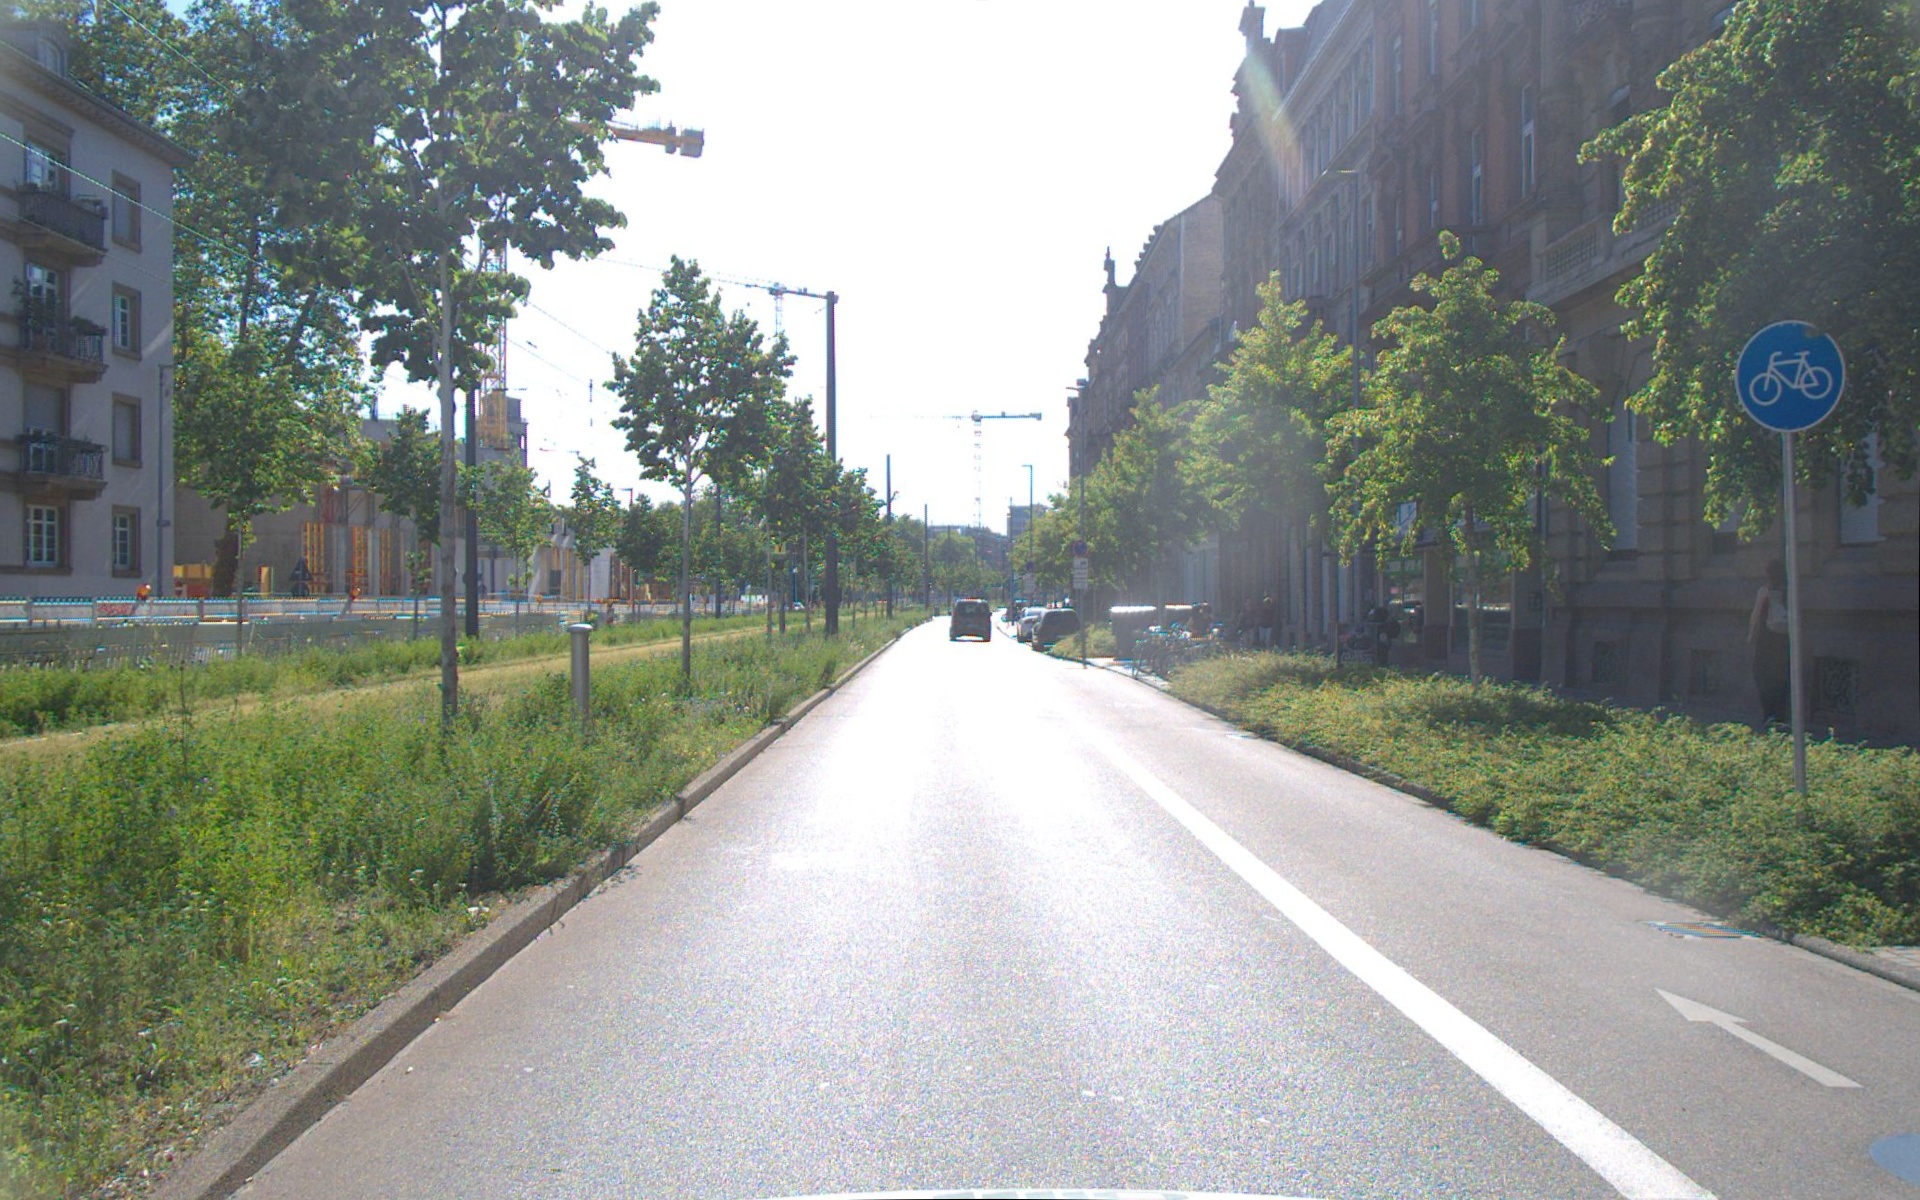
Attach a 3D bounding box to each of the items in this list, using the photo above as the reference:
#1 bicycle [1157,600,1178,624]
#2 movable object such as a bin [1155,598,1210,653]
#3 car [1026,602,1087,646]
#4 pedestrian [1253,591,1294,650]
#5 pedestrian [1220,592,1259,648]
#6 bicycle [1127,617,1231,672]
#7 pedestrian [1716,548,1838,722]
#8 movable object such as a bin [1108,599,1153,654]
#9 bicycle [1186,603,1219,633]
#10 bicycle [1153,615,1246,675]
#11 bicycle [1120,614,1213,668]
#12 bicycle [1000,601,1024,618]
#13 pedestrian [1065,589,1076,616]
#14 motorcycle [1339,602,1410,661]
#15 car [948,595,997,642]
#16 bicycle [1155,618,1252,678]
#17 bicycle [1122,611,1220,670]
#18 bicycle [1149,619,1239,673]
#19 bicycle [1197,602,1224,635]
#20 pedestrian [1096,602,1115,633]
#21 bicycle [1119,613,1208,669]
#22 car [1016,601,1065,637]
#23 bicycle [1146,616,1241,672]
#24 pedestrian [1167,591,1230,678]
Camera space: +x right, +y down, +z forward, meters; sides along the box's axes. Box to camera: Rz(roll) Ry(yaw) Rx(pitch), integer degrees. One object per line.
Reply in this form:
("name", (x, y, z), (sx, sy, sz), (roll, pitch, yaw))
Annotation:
("bicycle", (9.782, 0.562, 78.060), (0.706, 1.109, 2.198), (-1, 0, 0))
("movable object such as a bin", (6.558, 0.741, 48.844), (1.345, 1.521, 1.749), (-3, -1, 0))
("car", (3.557, 0.900, 61.505), (1.730, 1.502, 4.446), (-2, -1, -3))
("pedestrian", (9.129, 0.579, 48.195), (0.951, 1.668, 0.992), (-1, 1, -1))
("pedestrian", (8.145, 0.571, 48.238), (0.931, 1.594, 1.080), (-1, 1, -1))
("bicycle", (4.842, 0.981, 36.561), (2.247, 1.121, 0.484), (-2, 0, -15))
("pedestrian", (9.551, 0.402, 19.368), (0.871, 1.953, 1.098), (-2, 0, 4))
("movable object such as a bin", (4.995, 0.770, 48.648), (1.244, 1.488, 1.645), (1, 2, 4))
("bicycle", (9.810, 0.718, 66.925), (0.858, 1.124, 2.180), (-3, 0, -3))
("bicycle", (4.910, 0.915, 33.935), (1.829, 1.199, 0.373), (-1, -1, -4))
("bicycle", (4.740, 0.932, 37.988), (2.004, 1.126, 0.610), (-3, 0, -7))
("bicycle", (4.117, 0.735, 131.587), (1.843, 1.255, 0.499), (-3, -1, -6))
("pedestrian", (8.672, 0.186, 129.585), (0.801, 2.049, 1.046), (1, -3, 0))
("motorcycle", (9.591, 0.720, 38.405), (0.848, 1.288, 2.981), (1, -1, -1))
("car", (0.529, 0.824, 74.745), (1.954, 2.049, 3.997), (1, -1, -3))
("bicycle", (4.935, 0.971, 33.581), (1.855, 1.128, 0.517), (-2, -1, -6))
("bicycle", (4.701, 0.903, 36.904), (2.110, 1.174, 0.428), (-3, 0, -15))
("bicycle", (4.962, 0.972, 35.054), (1.779, 1.074, 0.571), (-2, -1, -7))
("bicycle", (9.664, 0.717, 63.858), (0.732, 1.222, 1.800), (-1, -1, -1))
("pedestrian", (8.550, 1.027, 97.307), (0.975, 1.762, 0.866), (1, -1, -1))
("bicycle", (4.730, 0.939, 38.396), (1.937, 1.143, 0.481), (-4, 1, -6))
("car", (3.571, 0.830, 74.214), (1.912, 1.521, 5.104), (-2, 0, 0))
("bicycle", (5.001, 0.943, 35.398), (1.938, 1.128, 0.435), (-2, -1, -4))
("pedestrian", (5.075, 0.739, 35.192), (0.891, 1.766, 0.840), (-3, 0, -32))
